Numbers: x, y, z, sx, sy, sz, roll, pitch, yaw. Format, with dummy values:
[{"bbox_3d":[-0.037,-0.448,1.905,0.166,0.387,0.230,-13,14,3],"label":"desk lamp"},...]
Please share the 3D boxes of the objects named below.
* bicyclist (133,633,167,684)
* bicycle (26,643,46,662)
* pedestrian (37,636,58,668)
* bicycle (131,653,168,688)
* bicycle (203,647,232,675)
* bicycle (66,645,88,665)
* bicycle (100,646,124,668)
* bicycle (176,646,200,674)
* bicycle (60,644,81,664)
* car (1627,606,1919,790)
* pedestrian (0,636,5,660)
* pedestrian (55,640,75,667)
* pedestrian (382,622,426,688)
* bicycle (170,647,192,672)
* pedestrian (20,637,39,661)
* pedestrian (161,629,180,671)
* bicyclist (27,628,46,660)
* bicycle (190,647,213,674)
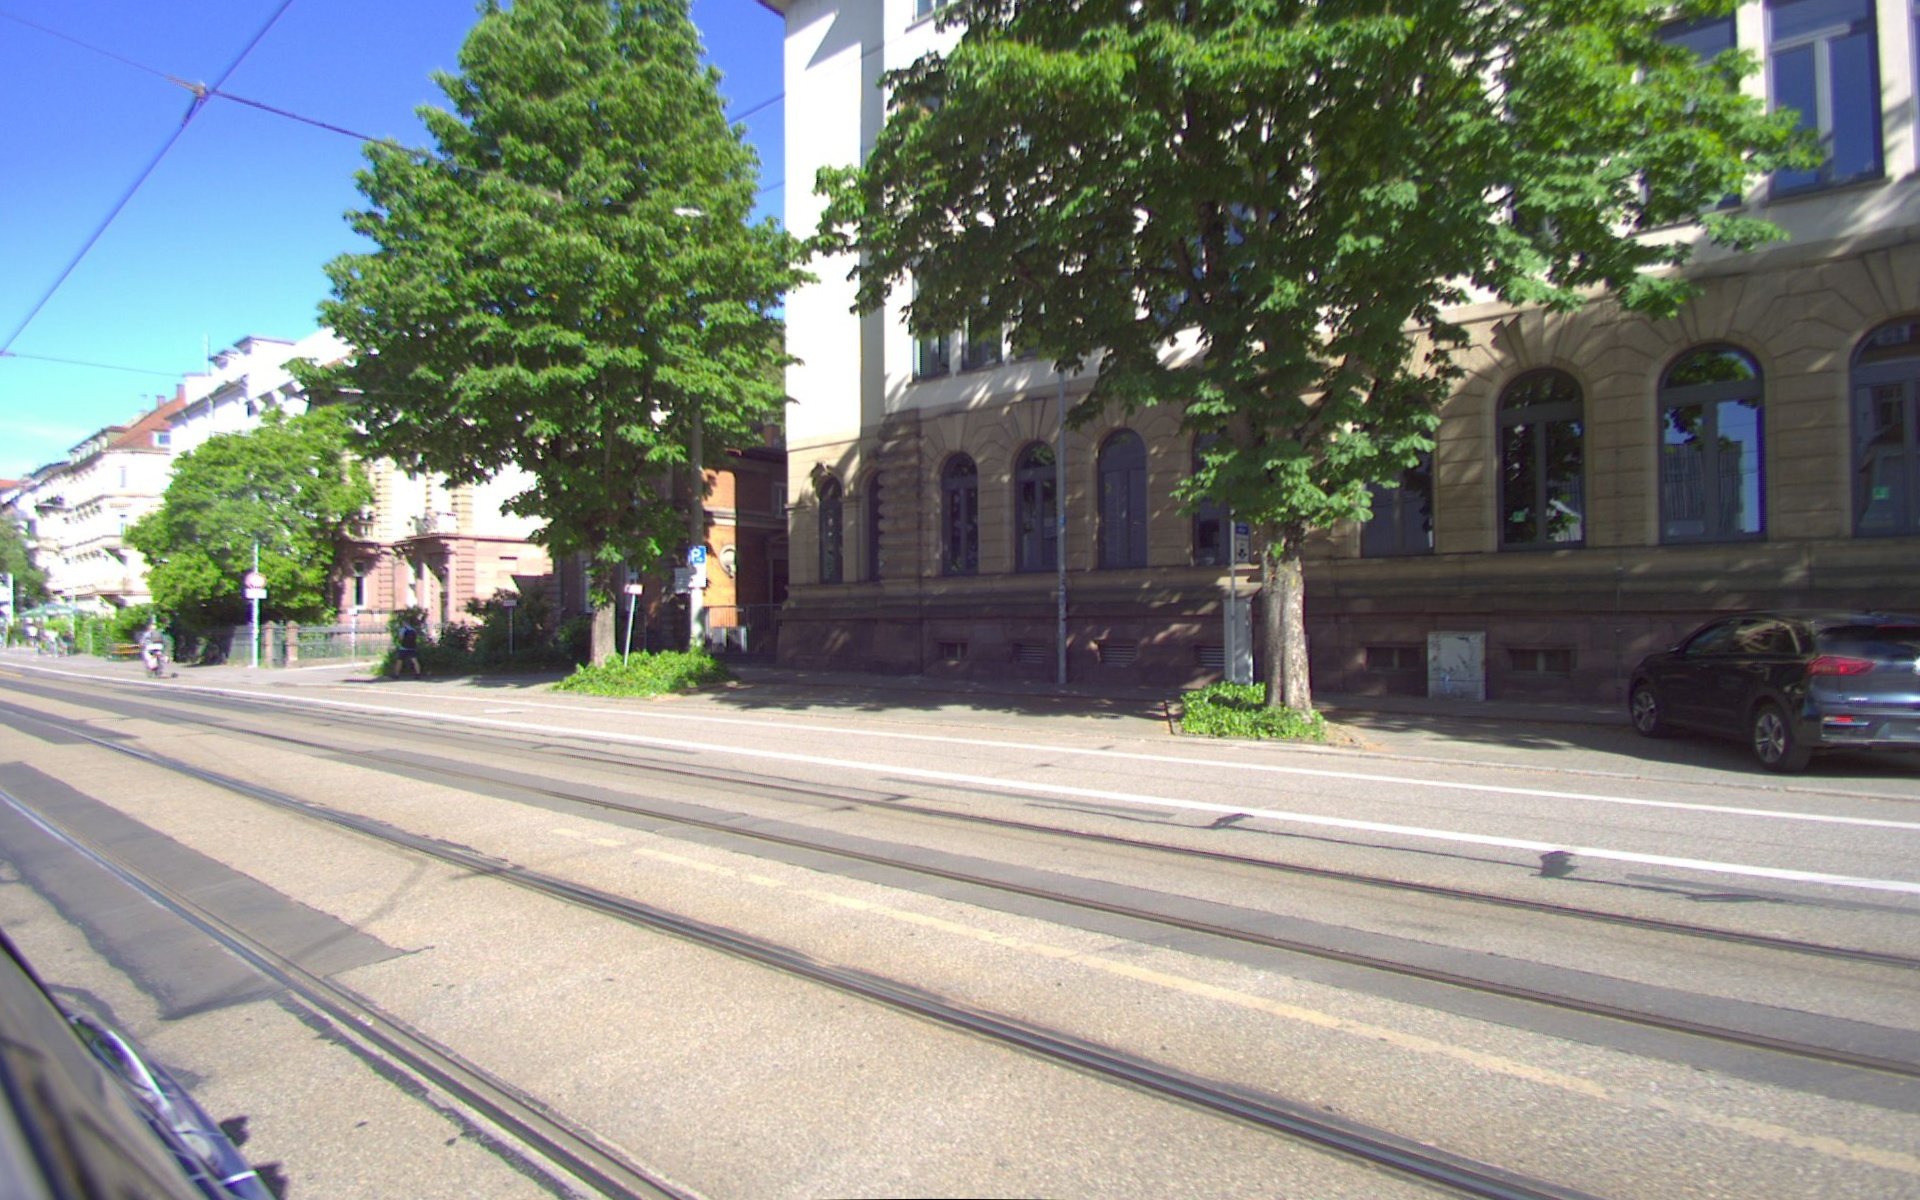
[{"bbox_3d":[-27.127,1.956,33.887,1.238,1.657,0.679,-2,-4,44],"label":"bicyclist"},{"bbox_3d":[-54.627,3.086,59.838,0.695,1.063,1.839,1,-1,-37],"label":"bicycle"},{"bbox_3d":[-51.352,2.921,56.948,0.808,1.727,0.747,-2,-1,40],"label":"pedestrian"},{"bbox_3d":[-27.118,2.341,33.851,1.932,1.133,0.679,-2,-4,44],"label":"bicycle"},{"bbox_3d":[-29.857,2.452,40.701,1.905,1.053,0.583,-2,-1,43],"label":"bicycle"},{"bbox_3d":[-51.249,3.172,58.752,1.839,1.097,0.655,-1,1,41],"label":"bicycle"},{"bbox_3d":[-43.114,2.888,51.427,1.742,1.067,0.632,-2,0,41],"label":"bicycle"},{"bbox_3d":[-33.361,2.577,43.745,0.638,1.152,1.907,-2,0,-42],"label":"bicycle"},{"bbox_3d":[-52.746,3.194,59.990,1.839,1.097,0.655,-1,1,41],"label":"bicycle"},{"bbox_3d":[8.925,0.864,10.602,1.858,1.562,3.984,-1,-1,12],"label":"car"},{"bbox_3d":[-72.485,3.623,76.360,0.538,1.795,0.552,-2,-2,36],"label":"pedestrian"},{"bbox_3d":[-50.915,3.035,57.570,0.956,1.489,0.747,-2,-1,40],"label":"pedestrian"},{"bbox_3d":[-15.906,1.568,28.946,0.775,1.810,0.726,-2,0,23],"label":"pedestrian"},{"bbox_3d":[-34.417,2.628,44.729,0.628,1.053,2.027,0,-2,-34],"label":"bicycle"},{"bbox_3d":[-69.183,3.647,75.247,0.683,1.781,0.867,0,-2,-6],"label":"pedestrian"},{"bbox_3d":[-34.695,2.190,44.481,0.567,1.845,0.691,0,-2,-31],"label":"pedestrian"},{"bbox_3d":[-54.629,2.602,59.851,0.695,1.868,0.988,1,-1,-37],"label":"bicyclist"},{"bbox_3d":[-31.633,2.524,42.178,0.582,1.053,1.907,0,-1,-42],"label":"bicycle"}]
